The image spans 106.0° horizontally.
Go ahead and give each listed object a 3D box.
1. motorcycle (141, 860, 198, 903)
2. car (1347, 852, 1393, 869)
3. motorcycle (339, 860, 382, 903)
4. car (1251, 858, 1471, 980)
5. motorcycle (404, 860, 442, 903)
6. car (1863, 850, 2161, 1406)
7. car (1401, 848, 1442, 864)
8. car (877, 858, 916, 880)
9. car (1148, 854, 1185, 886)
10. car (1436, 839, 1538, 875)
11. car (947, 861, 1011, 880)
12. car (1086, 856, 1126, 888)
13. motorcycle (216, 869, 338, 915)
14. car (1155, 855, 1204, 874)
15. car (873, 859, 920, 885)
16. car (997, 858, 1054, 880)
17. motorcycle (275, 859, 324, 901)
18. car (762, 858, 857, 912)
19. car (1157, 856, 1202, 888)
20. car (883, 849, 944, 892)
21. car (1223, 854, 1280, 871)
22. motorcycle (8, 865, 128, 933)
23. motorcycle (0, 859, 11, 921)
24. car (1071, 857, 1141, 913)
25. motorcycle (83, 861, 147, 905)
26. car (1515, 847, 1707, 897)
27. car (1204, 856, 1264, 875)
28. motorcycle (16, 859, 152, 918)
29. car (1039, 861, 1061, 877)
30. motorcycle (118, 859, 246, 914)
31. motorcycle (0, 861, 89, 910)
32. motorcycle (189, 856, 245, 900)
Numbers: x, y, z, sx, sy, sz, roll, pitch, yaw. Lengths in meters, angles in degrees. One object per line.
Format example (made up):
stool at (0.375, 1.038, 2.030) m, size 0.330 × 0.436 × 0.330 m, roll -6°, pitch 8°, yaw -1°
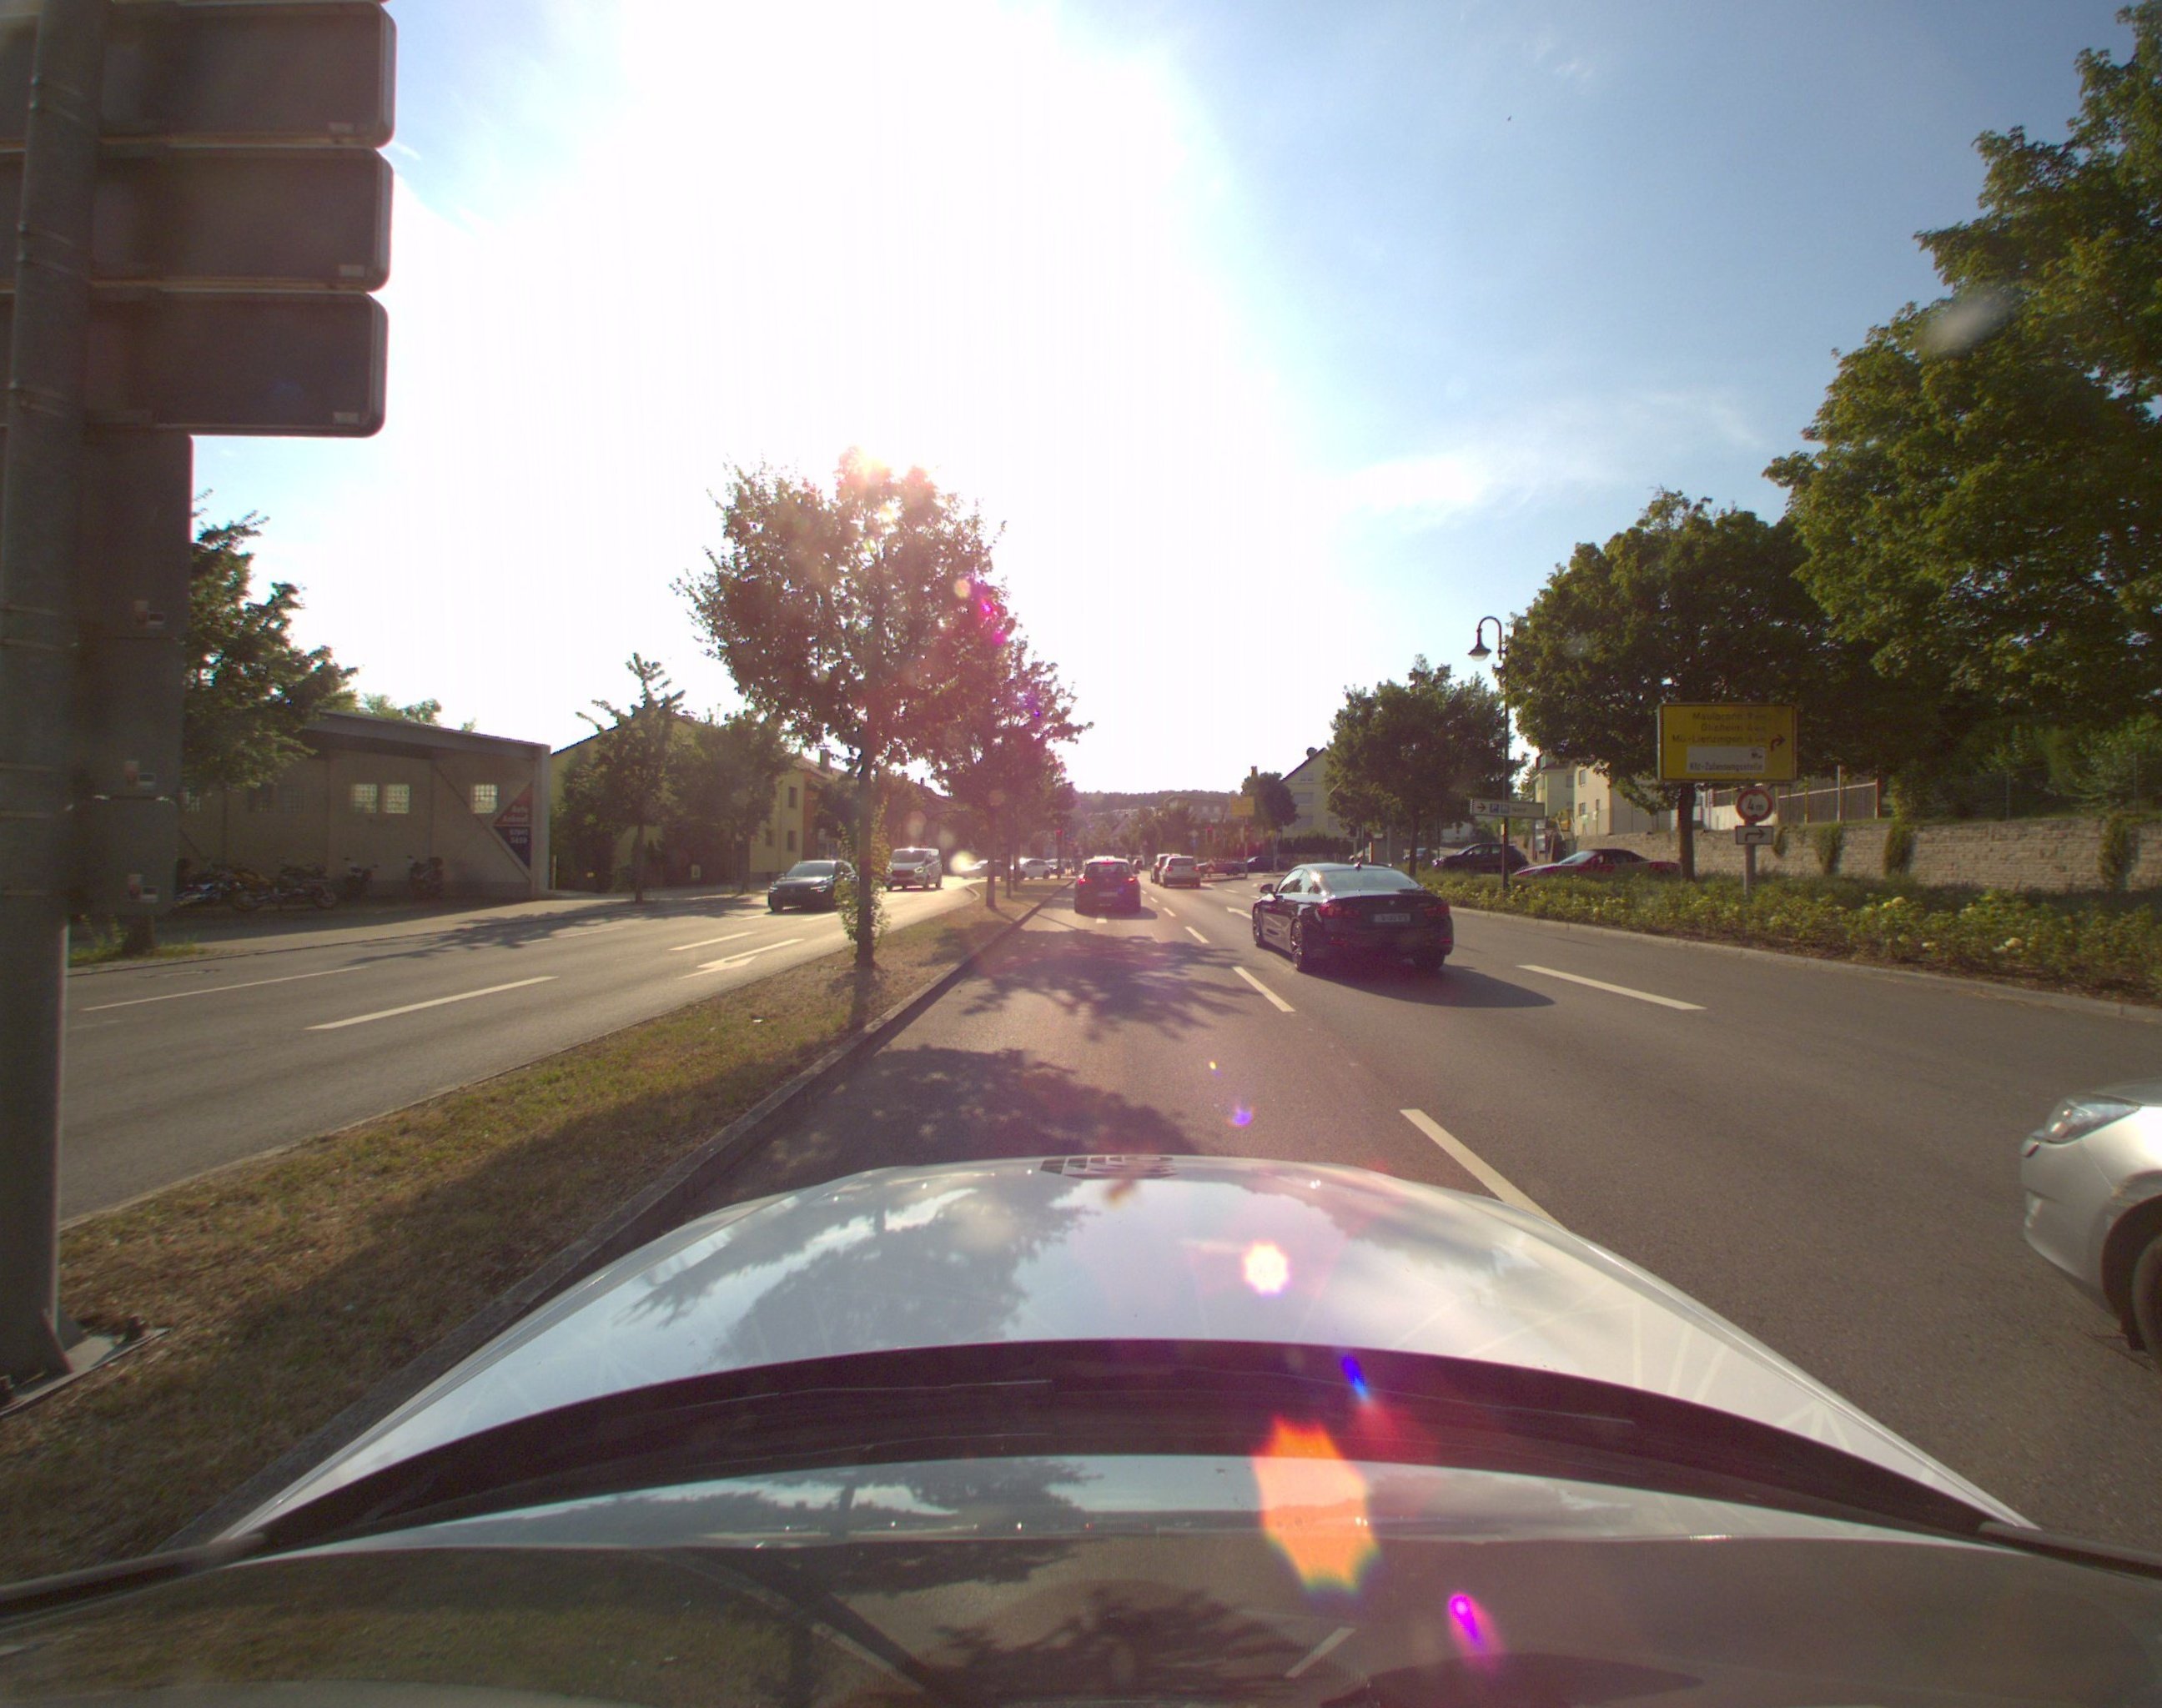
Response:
motorcycle at (-29.185, 0.862, 26.110) m, size 0.565 × 1.307 × 2.071 m, roll 0°, pitch 0°, yaw -29°
car at (26.696, 0.573, 75.168) m, size 4.683 × 1.485 × 1.846 m, roll 0°, pitch 0°, yaw -40°
motorcycle at (-22.836, 0.837, 25.834) m, size 0.565 × 1.307 × 2.071 m, roll 0°, pitch 0°, yaw -29°
car at (3.693, 0.768, 11.618) m, size 1.809 × 1.388 × 4.349 m, roll -1°, pitch 0°, yaw 3°
motorcycle at (-20.812, 0.846, 25.799) m, size 0.564 × 1.307 × 2.096 m, roll 0°, pitch 0°, yaw -29°
car at (3.611, 0.699, 0.834) m, size 1.737 × 1.442 × 4.170 m, roll -1°, pitch 0°, yaw 3°
car at (30.183, 0.202, 72.133) m, size 4.210 × 1.386 × 1.631 m, roll 0°, pitch 0°, yaw -39°
car at (-14.363, 1.146, 63.501) m, size 1.835 × 1.552 × 4.004 m, roll 2°, pitch 0°, yaw 4°
car at (4.791, 0.860, 45.881) m, size 1.809 × 1.666 × 4.349 m, roll -1°, pitch 0°, yaw 3°
car at (18.881, 0.131, 38.028) m, size 3.959 × 1.608 × 1.860 m, roll -1°, pitch 0°, yaw 13°
car at (-7.978, 1.272, 63.846) m, size 4.727 × 1.462 × 1.675 m, roll 0°, pitch 0°, yaw -32°
car at (1.265, 0.853, 39.732) m, size 1.809 × 1.451 × 4.244 m, roll -1°, pitch 0°, yaw 2°
motorcycle at (-20.885, 0.959, 21.218) m, size 0.623 × 1.124 × 2.168 m, roll -1°, pitch 0°, yaw 31°
car at (9.352, 1.050, 77.726) m, size 1.907 × 1.702 × 4.469 m, roll -1°, pitch -1°, yaw -42°
car at (-11.130, 1.039, 49.462) m, size 1.800 × 1.497 × 4.247 m, roll -1°, pitch 0°, yaw 1°
car at (-3.943, 1.033, 58.430) m, size 1.784 × 1.497 × 3.979 m, roll -1°, pitch 0°, yaw 43°
motorcycle at (-25.172, 0.820, 26.258) m, size 0.625 × 1.307 × 2.071 m, roll 0°, pitch 0°, yaw -29°
car at (-8.060, 0.868, 24.543) m, size 1.766 × 1.451 × 4.101 m, roll -1°, pitch 0°, yaw -5°
car at (4.703, 0.832, 39.346) m, size 1.809 × 1.446 × 4.349 m, roll -1°, pitch 0°, yaw 3°
car at (-8.056, 0.759, 39.639) m, size 1.816 × 1.923 × 4.945 m, roll -1°, pitch 0°, yaw 1°
car at (14.882, 0.733, 71.134) m, size 4.618 × 1.422 × 1.847 m, roll 0°, pitch 0°, yaw -3°
motorcycle at (-21.182, 0.906, 17.092) m, size 0.670 × 1.311 × 1.993 m, roll 0°, pitch 0°, yaw -22°
motorcycle at (-23.138, 0.767, 16.857) m, size 0.652 × 1.311 × 1.986 m, roll 0°, pitch -1°, yaw -36°
car at (0.733, 0.799, 23.078) m, size 1.783 × 1.414 × 4.349 m, roll -1°, pitch 0°, yaw 3°
motorcycle at (-30.374, 0.885, 25.641) m, size 0.565 × 1.307 × 2.071 m, roll 0°, pitch 0°, yaw -29°
car at (14.162, 0.468, 22.015) m, size 3.959 × 1.272 × 1.860 m, roll -1°, pitch 0°, yaw 13°
car at (12.242, 0.916, 65.316) m, size 4.462 × 1.349 × 1.781 m, roll 0°, pitch 3°, yaw -9°
motorcycle at (-25.871, 0.852, 21.188) m, size 0.587 × 1.449 × 2.168 m, roll -1°, pitch 0°, yaw 31°
car at (-3.045, 1.475, 80.496) m, size 1.759 × 1.458 × 4.003 m, roll -1°, pitch 0°, yaw 3°
motorcycle at (-23.272, 0.808, 21.132) m, size 0.556 × 1.330 × 2.168 m, roll -1°, pitch 0°, yaw 31°
motorcycle at (-28.116, 0.837, 21.630) m, size 0.638 × 1.258 × 2.168 m, roll -1°, pitch 0°, yaw 31°
motorcycle at (-27.020, 0.726, 25.515) m, size 0.585 × 1.307 × 2.071 m, roll 0°, pitch 0°, yaw -29°
